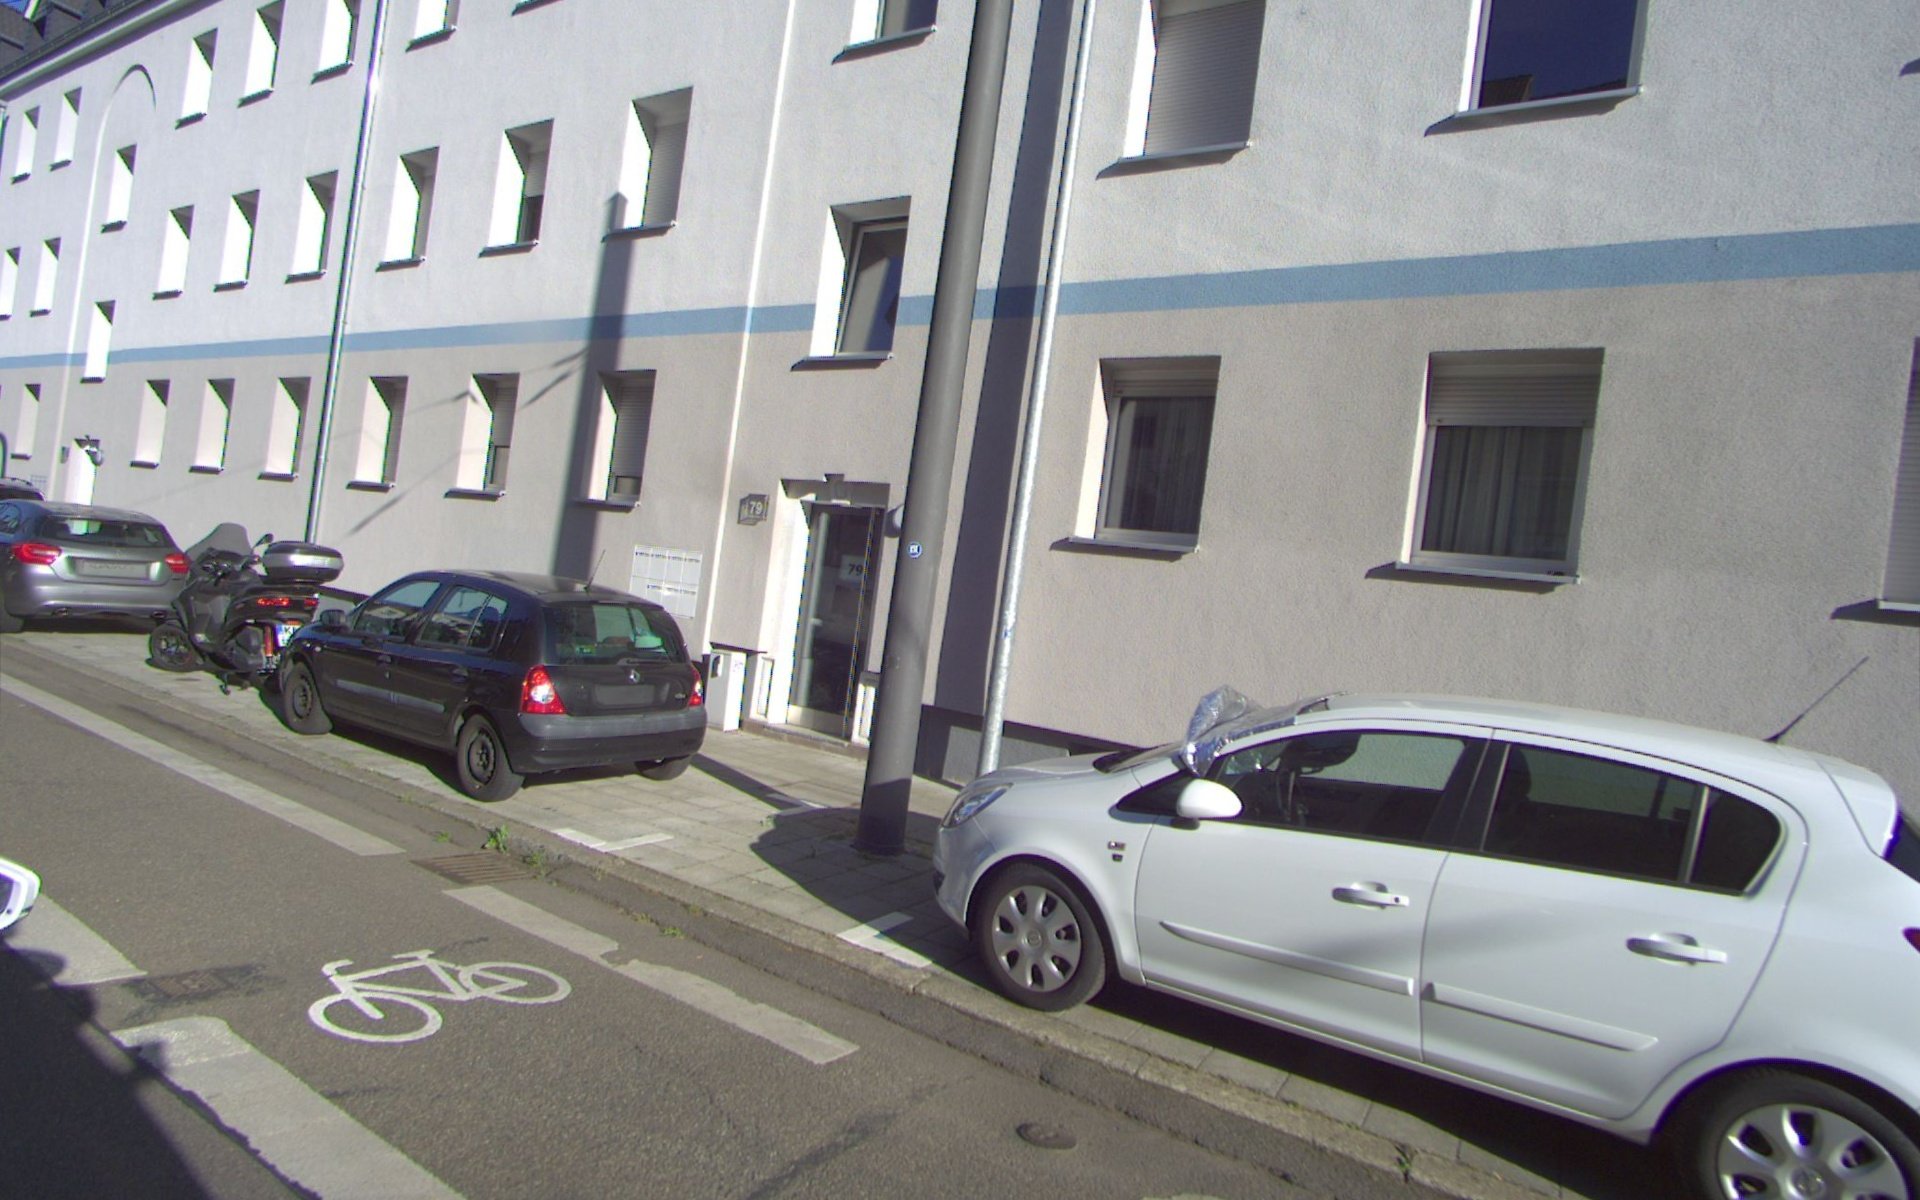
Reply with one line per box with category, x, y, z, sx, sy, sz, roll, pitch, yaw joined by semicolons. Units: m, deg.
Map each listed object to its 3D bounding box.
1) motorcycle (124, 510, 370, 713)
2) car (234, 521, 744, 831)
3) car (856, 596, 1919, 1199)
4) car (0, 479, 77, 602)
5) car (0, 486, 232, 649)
motorcycle;-6.713;0.052;9.403;2.663;1.541;0.806;7;2;31
car;-3.654;0.412;7.587;3.840;1.591;1.609;7;1;33
car;1.714;1.029;4.178;3.839;1.591;1.802;7;1;31
car;-15.504;-1.104;15.224;4.547;1.687;1.757;7;1;30
car;-10.892;-0.489;12.200;4.295;1.574;1.865;7;1;33
